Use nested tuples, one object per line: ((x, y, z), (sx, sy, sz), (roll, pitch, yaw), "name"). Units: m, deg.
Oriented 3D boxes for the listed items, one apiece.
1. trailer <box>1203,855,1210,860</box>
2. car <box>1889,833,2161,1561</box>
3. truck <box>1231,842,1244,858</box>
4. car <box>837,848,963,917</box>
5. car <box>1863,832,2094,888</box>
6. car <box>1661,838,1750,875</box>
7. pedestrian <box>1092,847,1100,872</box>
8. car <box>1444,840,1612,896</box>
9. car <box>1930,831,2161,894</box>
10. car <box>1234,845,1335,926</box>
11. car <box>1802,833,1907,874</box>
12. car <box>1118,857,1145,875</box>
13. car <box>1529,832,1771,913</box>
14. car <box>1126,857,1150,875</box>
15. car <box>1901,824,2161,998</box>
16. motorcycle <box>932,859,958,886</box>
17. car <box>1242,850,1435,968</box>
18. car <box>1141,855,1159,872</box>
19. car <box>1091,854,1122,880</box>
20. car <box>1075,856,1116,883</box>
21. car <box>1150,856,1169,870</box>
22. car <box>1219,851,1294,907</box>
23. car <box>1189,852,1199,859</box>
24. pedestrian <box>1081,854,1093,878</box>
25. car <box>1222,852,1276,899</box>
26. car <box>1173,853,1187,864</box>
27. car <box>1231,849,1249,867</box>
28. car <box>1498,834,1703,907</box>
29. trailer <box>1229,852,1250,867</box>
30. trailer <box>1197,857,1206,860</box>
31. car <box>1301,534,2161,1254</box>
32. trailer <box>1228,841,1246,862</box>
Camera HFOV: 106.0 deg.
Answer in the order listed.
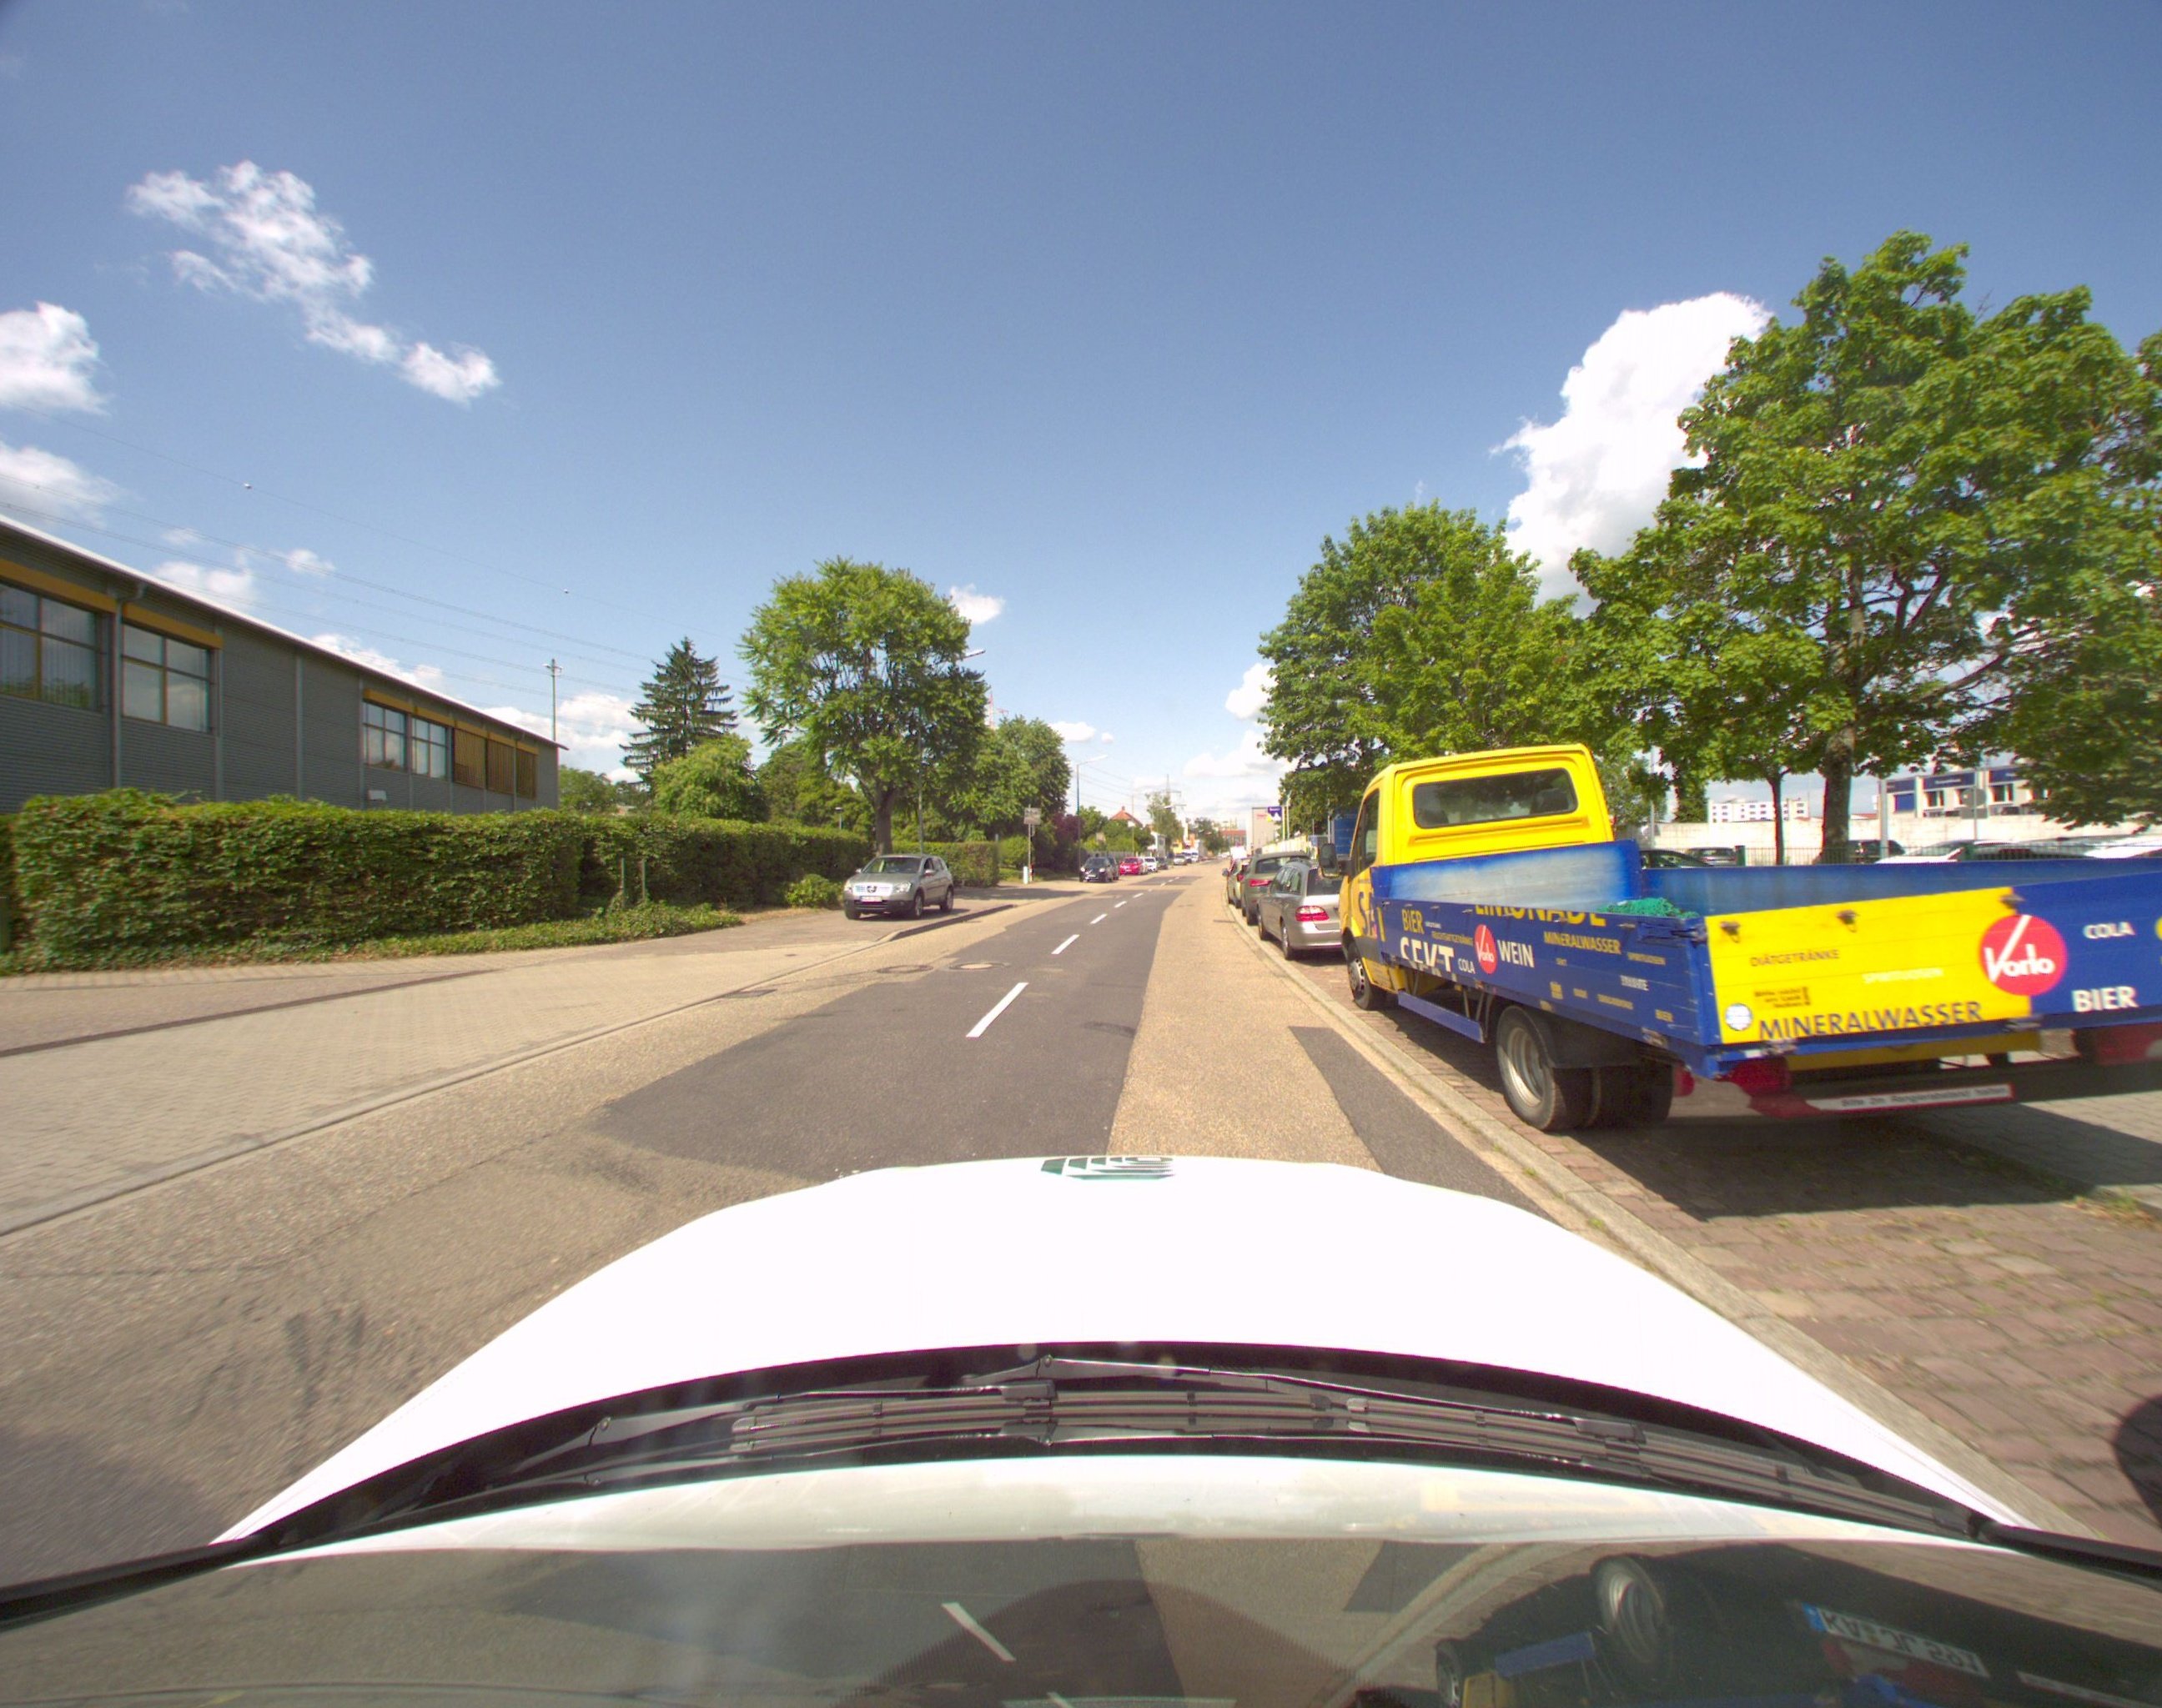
((38.310, 1.068, 248.203), (1.981, 1.556, 4.266), (-1, 0, 11), "trailer")
((2.970, 0.677, 0.214), (1.678, 1.495, 3.951), (-2, 0, 3), "car")
((34.205, -0.888, 177.992), (2.442, 3.293, 6.838), (-6, -1, 11), "truck")
((-4.490, 0.669, 20.957), (1.748, 1.574, 4.486), (0, 0, 7), "car")
((24.162, 0.160, 22.108), (3.727, 1.396, 2.021), (-1, 0, 13), "car")
((26.648, 0.113, 34.918), (1.976, 1.468, 4.291), (0, 0, 23), "car")
((1.135, 0.427, 61.258), (0.448, 1.894, 0.679), (-1, -1, 10), "pedestrian")
((13.865, 0.444, 25.496), (4.183, 1.593, 1.915), (-1, -1, 10), "car")
((23.360, 0.198, 19.399), (3.975, 1.396, 1.851), (-1, 0, 13), "car")
((4.762, 0.682, 19.680), (1.822, 1.608, 4.579), (-4, -1, 8), "car")
((31.381, 0.012, 33.183), (1.719, 1.549, 4.021), (-1, -1, 22), "car")
((4.188, 0.977, 66.906), (1.655, 1.467, 3.755), (1, 0, 11), "car")
((12.187, 0.399, 17.721), (3.850, 1.593, 1.915), (-1, -1, 10), "car")
((5.029, 1.035, 71.582), (1.635, 1.477, 4.040), (-1, -1, 10), "car")
((11.811, 0.491, 8.746), (4.305, 1.621, 1.762), (-2, 0, -2), "car")
((-6.372, 0.858, 38.208), (0.529, 1.220, 2.091), (-1, 0, 9), "motorcycle")
((3.957, 0.753, 13.519), (1.866, 1.477, 5.174), (-4, -1, 5), "car")
((6.836, 0.925, 80.536), (1.611, 1.522, 4.184), (-1, 0, 8), "car")
((1.748, 0.858, 55.011), (1.641, 1.645, 3.281), (2, 0, 8), "car")
((0.937, 0.910, 50.406), (1.833, 1.508, 4.012), (2, 0, 10), "car")
((8.860, 0.979, 92.075), (1.794, 1.418, 4.508), (1, 0, 9), "car")
((5.365, 0.725, 25.279), (1.692, 1.486, 3.812), (-4, -1, 4), "car")
((23.648, 0.277, 170.753), (1.784, 1.397, 4.516), (1, 0, 12), "car")
((0.465, 0.916, 61.056), (0.703, 1.801, 0.918), (-1, -1, 10), "pedestrian")
((6.207, 0.751, 30.324), (1.743, 1.486, 4.237), (-5, -1, 10), "car")
((15.696, 0.691, 128.764), (1.779, 1.719, 4.765), (1, 0, 11), "car")
((19.044, 0.480, 97.577), (1.981, 2.014, 5.666), (-2, 0, 10), "car")
((12.786, 0.417, 20.289), (3.850, 1.637, 1.915), (-1, -1, 10), "car")
((16.998, 0.606, 87.362), (1.740, 1.417, 4.556), (-4, -1, 5), "trailer")
((33.622, 1.345, 227.673), (2.348, 0.893, 5.585), (1, 0, 11), "trailer")
((3.429, 0.165, 6.155), (2.147, 2.465, 6.648), (-2, -1, 5), "car")
((22.313, -0.284, 116.513), (2.191, 2.737, 6.239), (-4, -1, 10), "trailer")
